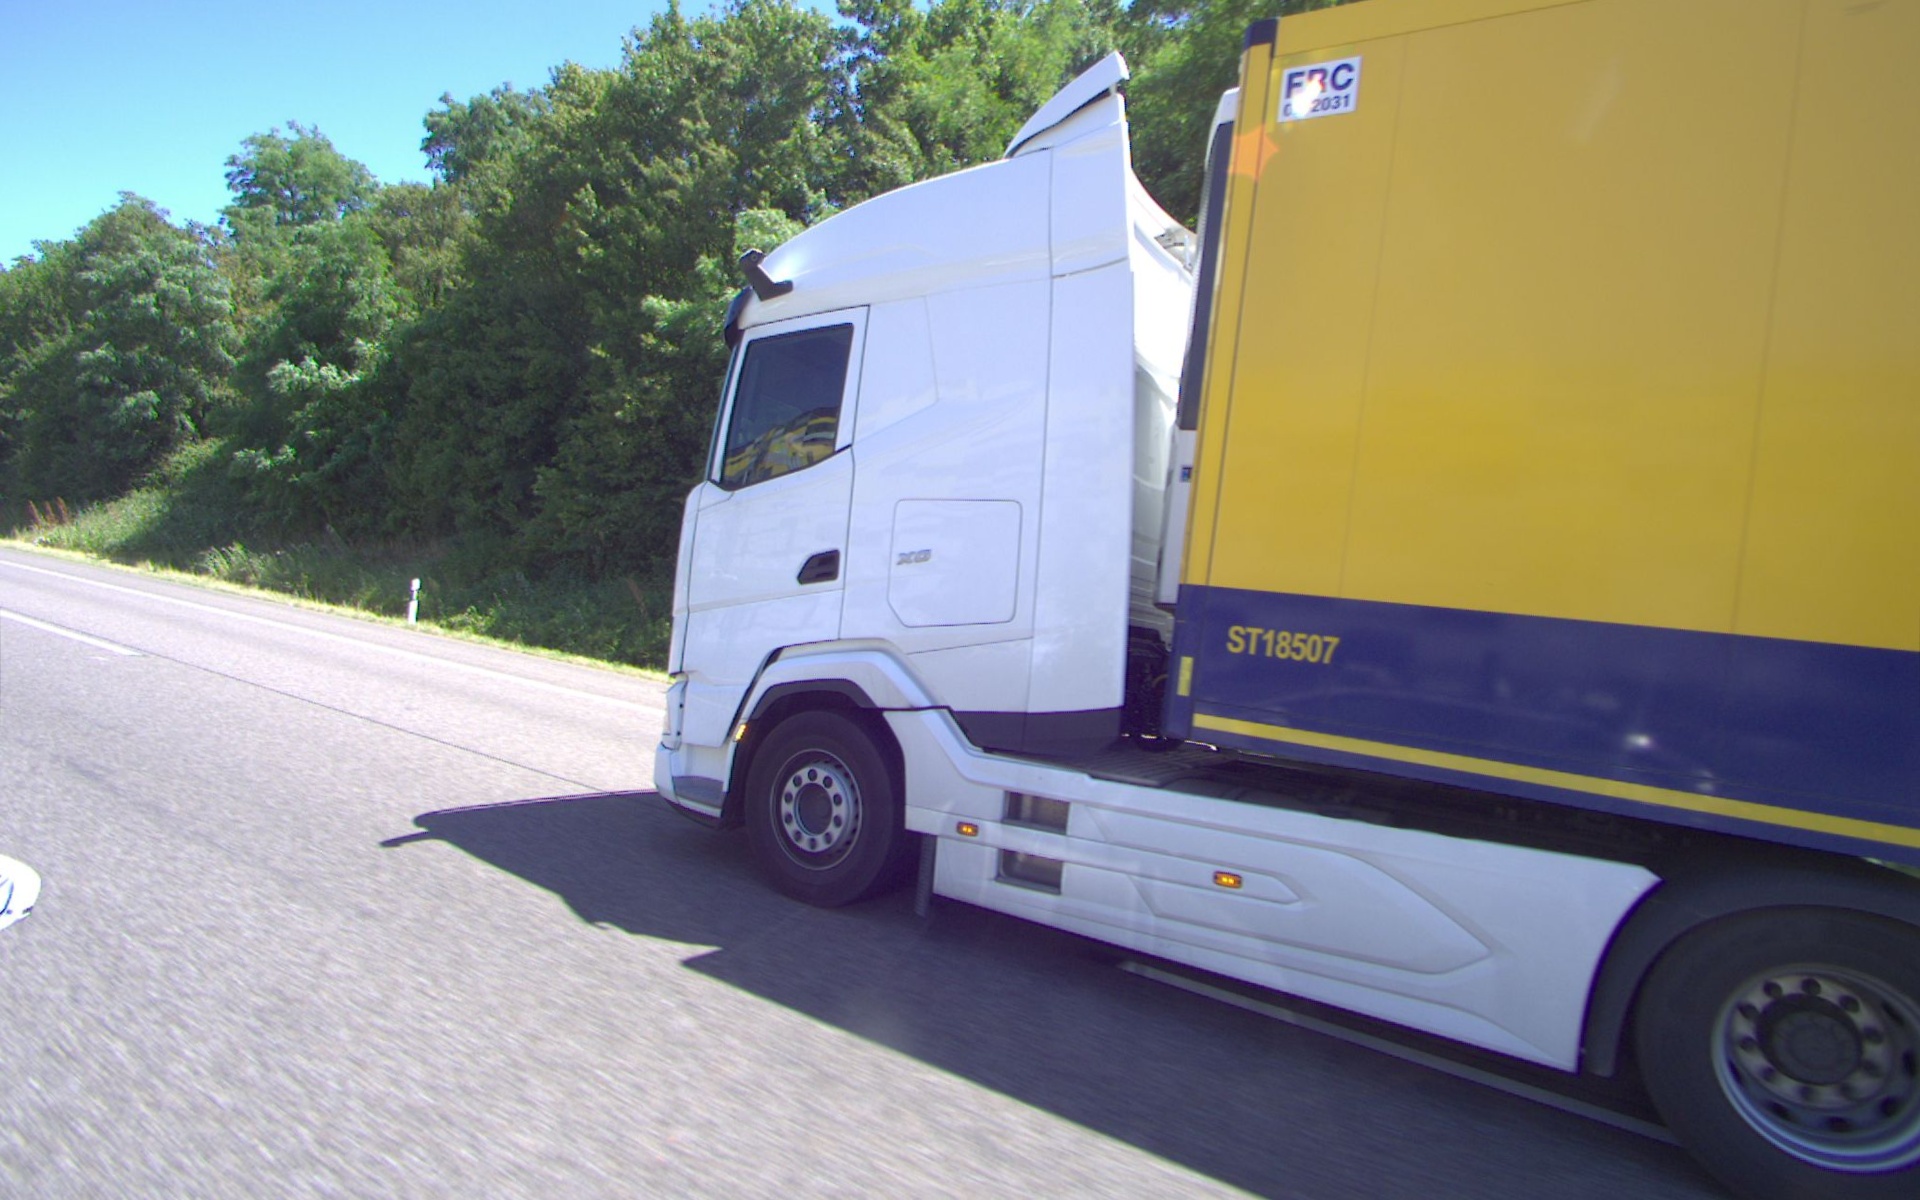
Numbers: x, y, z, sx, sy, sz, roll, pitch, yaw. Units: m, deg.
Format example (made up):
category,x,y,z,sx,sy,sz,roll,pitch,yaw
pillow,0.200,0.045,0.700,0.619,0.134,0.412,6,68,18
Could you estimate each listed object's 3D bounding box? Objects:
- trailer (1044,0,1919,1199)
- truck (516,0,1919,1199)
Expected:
category,x,y,z,sx,sy,sz,roll,pitch,yaw
trailer,7.034,0.346,1.755,13.605,4.118,2.682,6,-1,31
truck,0.806,-0.368,5.593,5.948,4.118,2.682,7,-1,31
